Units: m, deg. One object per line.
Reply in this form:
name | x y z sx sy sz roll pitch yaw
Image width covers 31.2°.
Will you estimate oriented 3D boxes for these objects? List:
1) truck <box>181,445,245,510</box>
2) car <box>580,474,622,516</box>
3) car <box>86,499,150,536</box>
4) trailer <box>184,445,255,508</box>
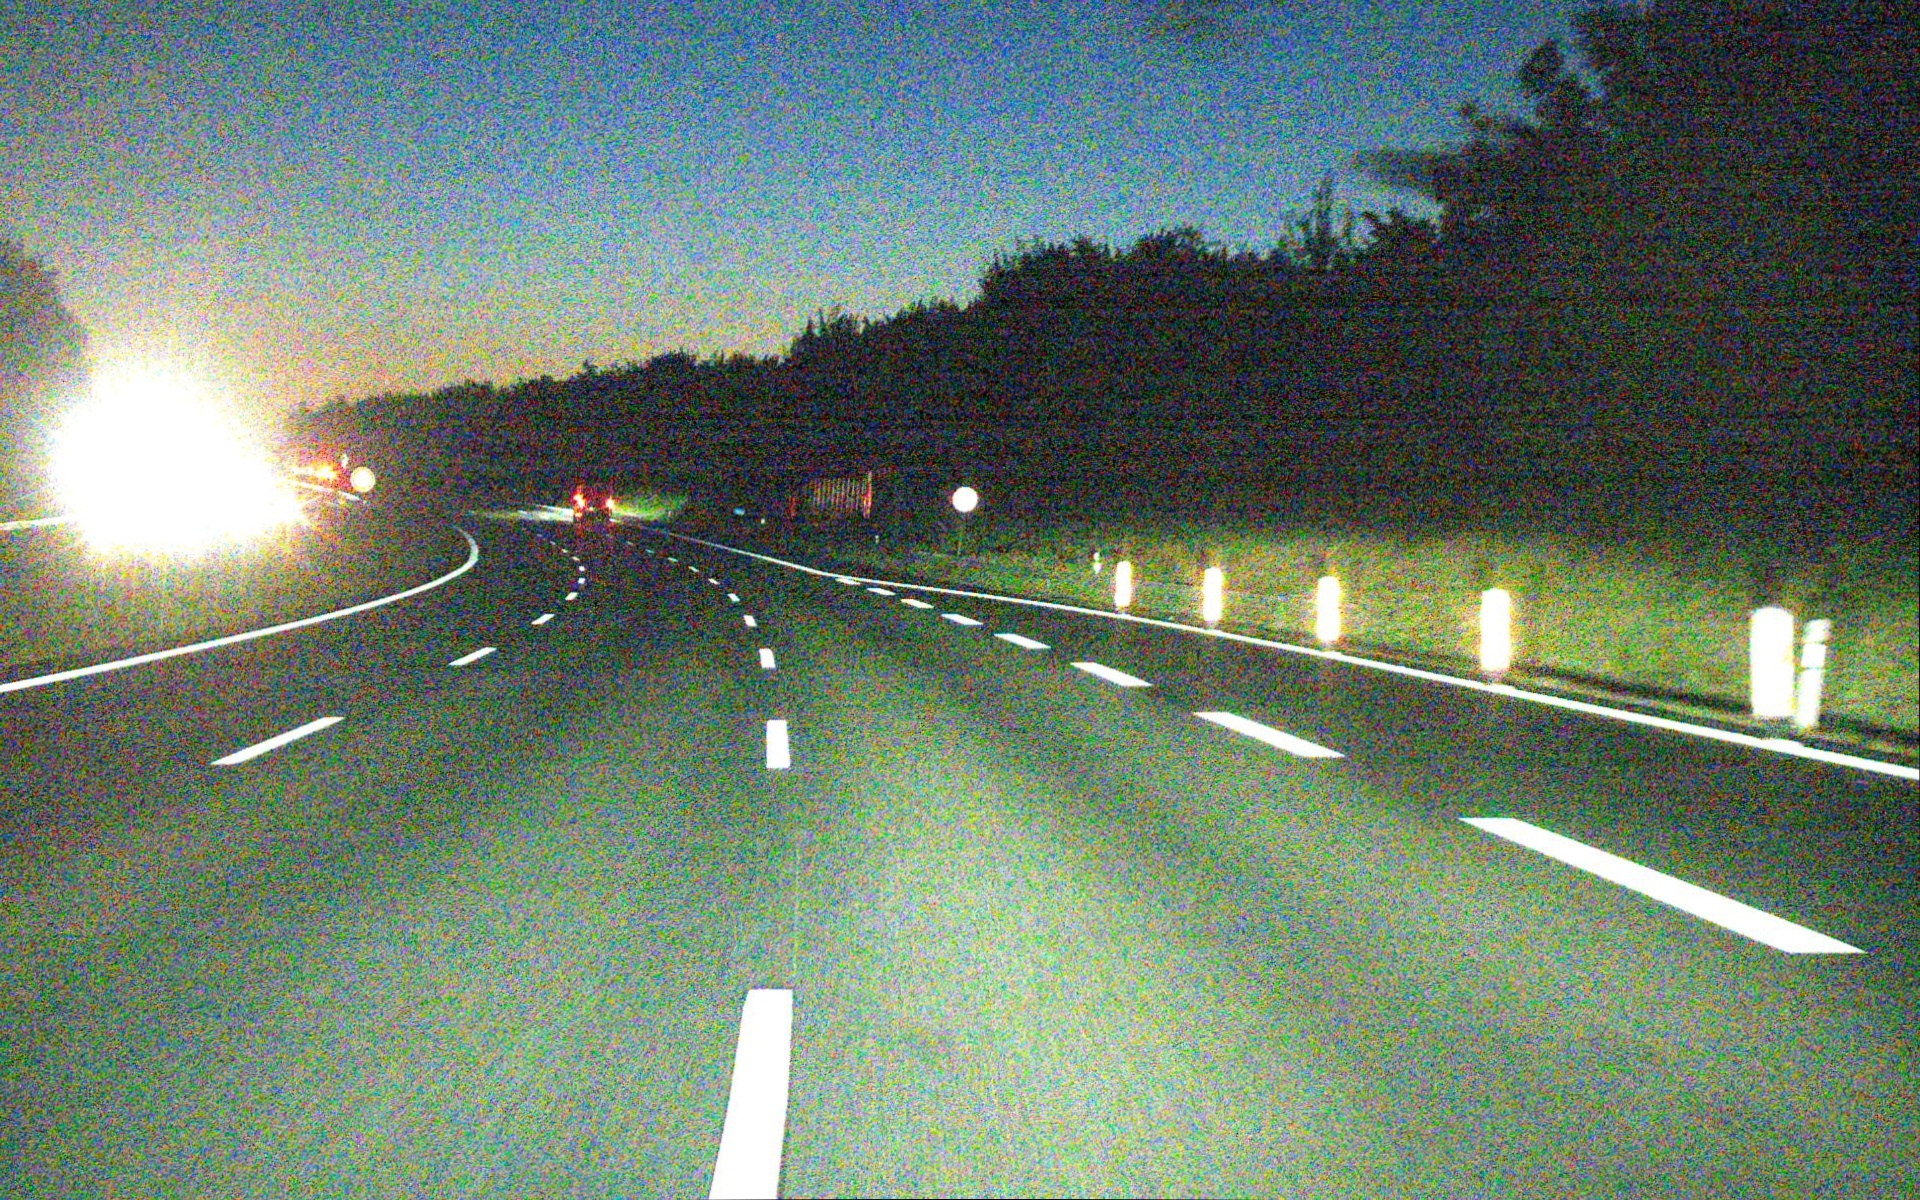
truck | -48.328 -7.939 222.552 3.589 4.085 5.996 0 2 -8
car | -23.169 -6.799 221.603 2.527 2.544 6.053 3 2 -7
car | -34.727 -3.420 141.874 1.993 1.503 4.001 1 1 -5
trailer | -49.251 -8.203 229.034 3.598 4.076 14.129 0 2 -8
